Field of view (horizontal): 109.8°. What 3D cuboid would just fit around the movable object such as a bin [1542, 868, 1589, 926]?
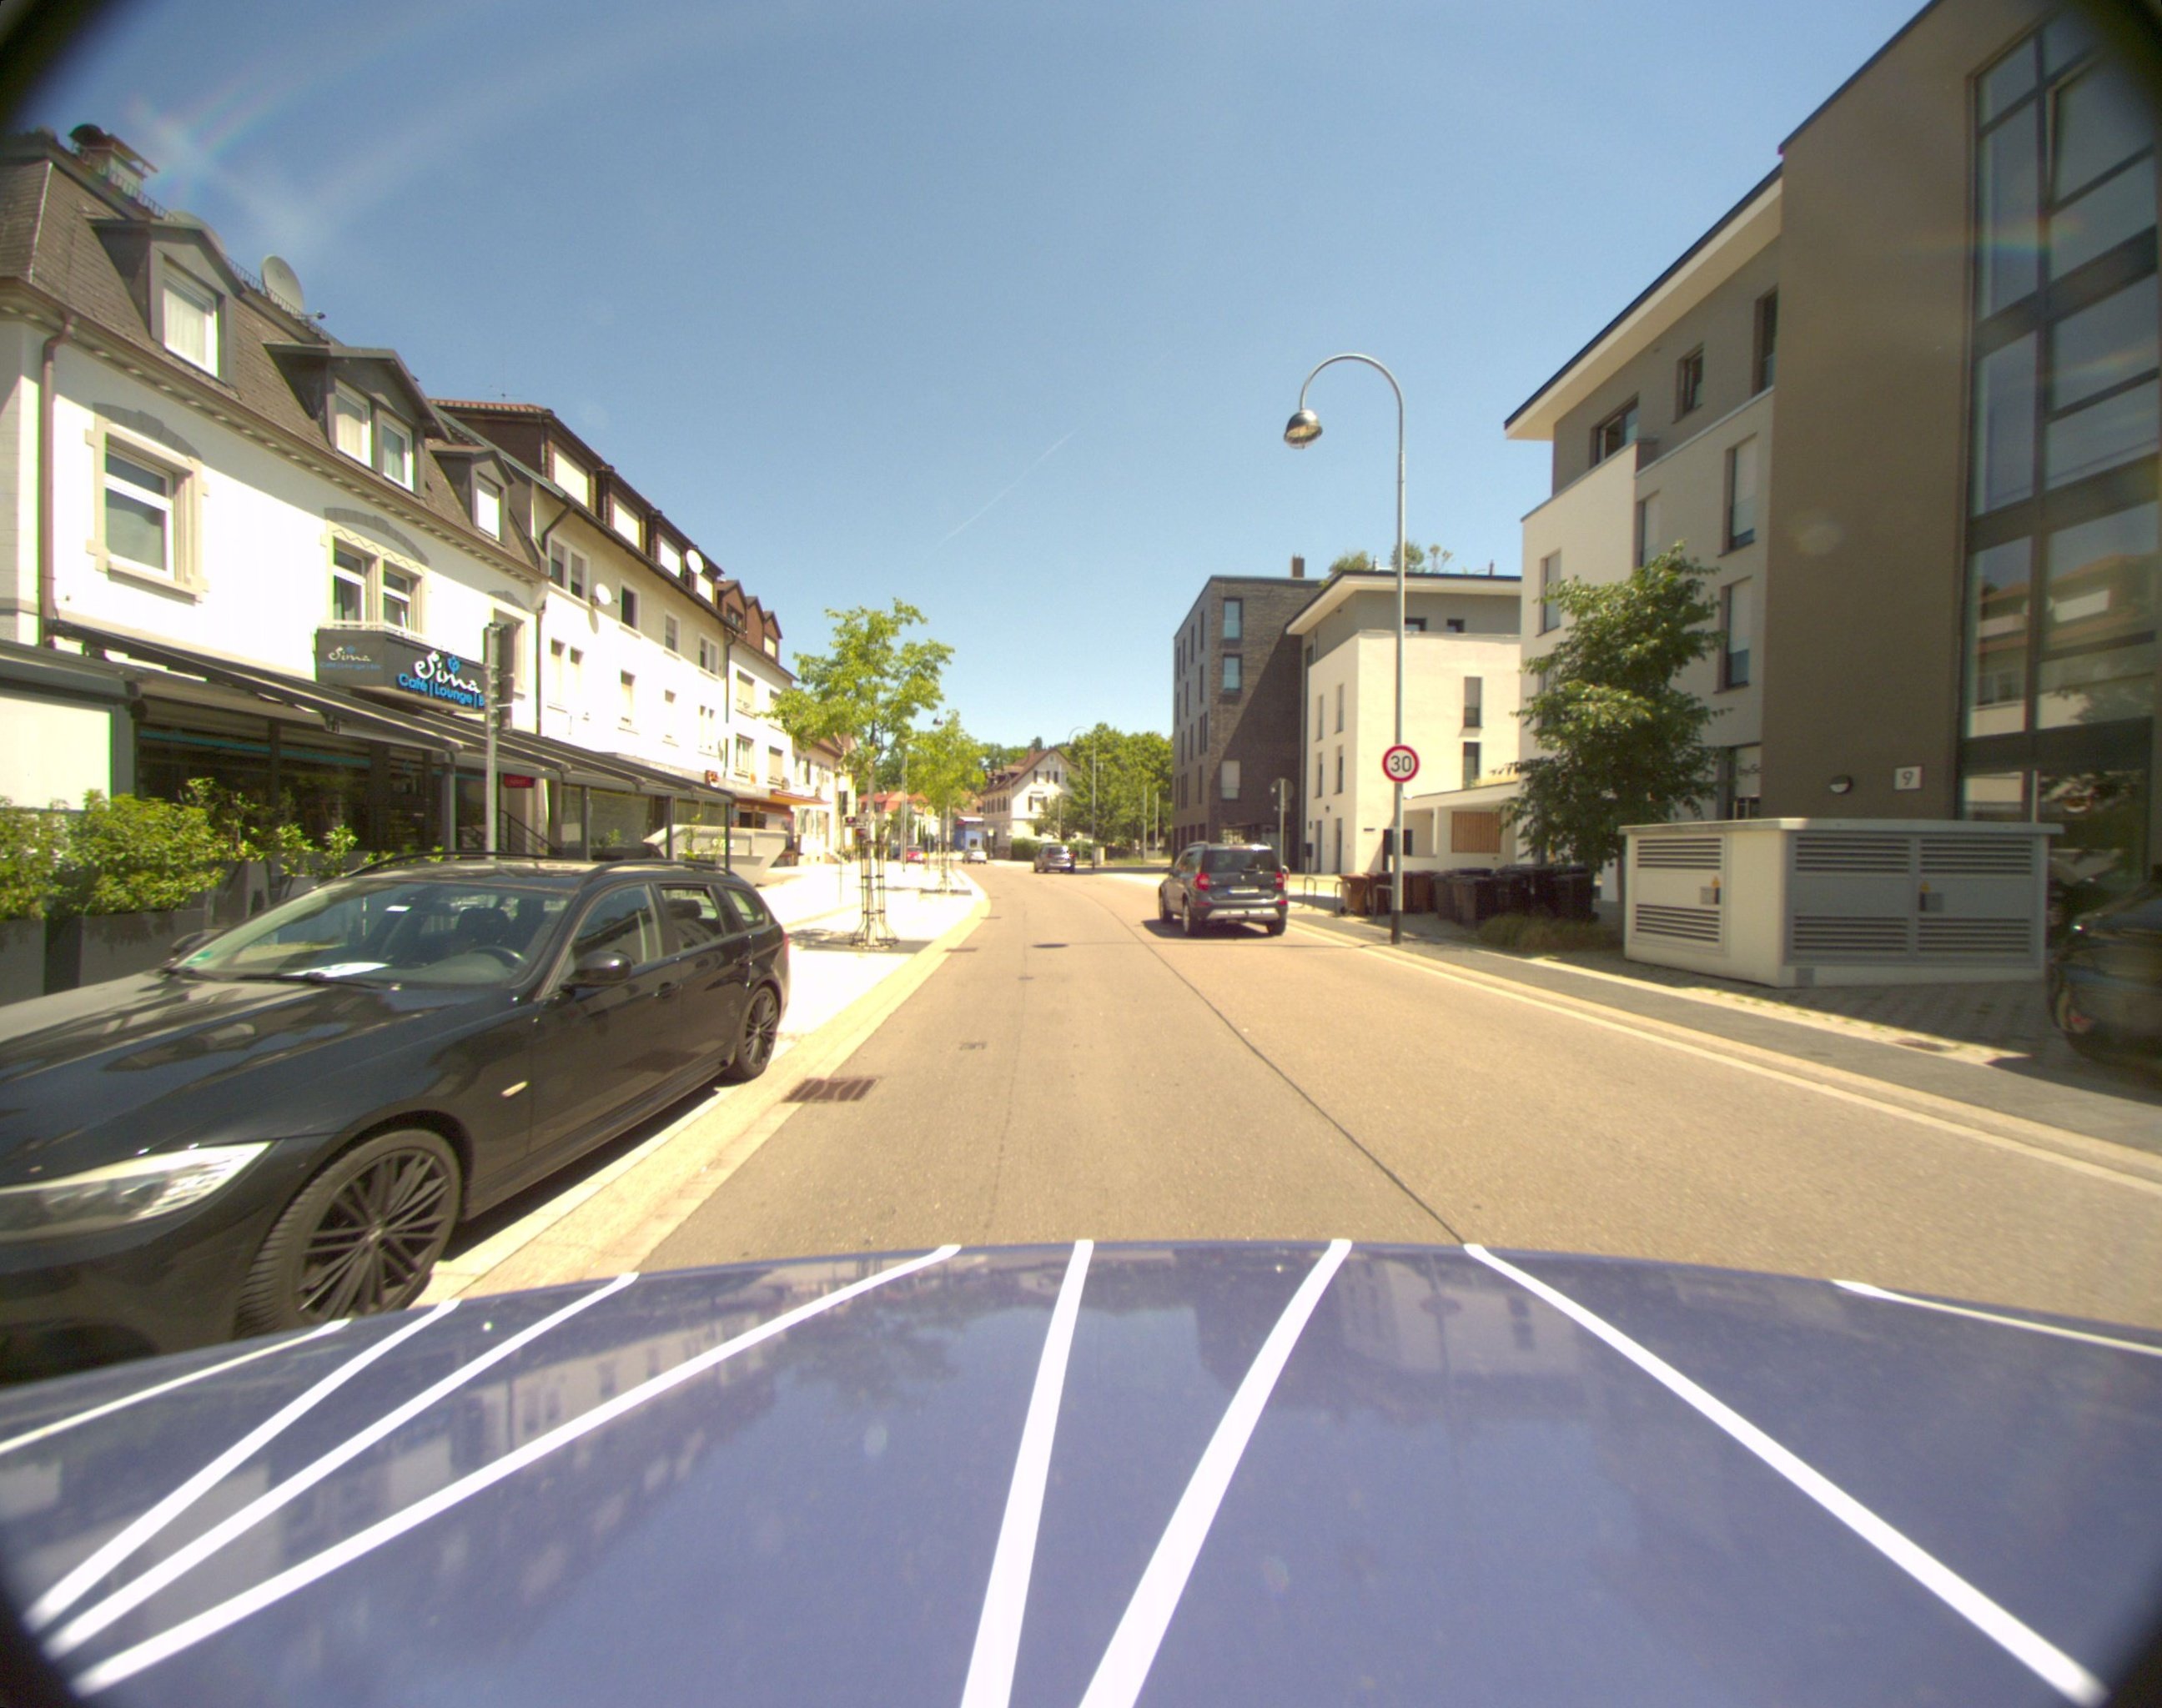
[{"bbox_3d":[9.060,0.794,14.219,0.556,1.033,0.481,0,1,-20],"label":"movable object such as a bin"}]

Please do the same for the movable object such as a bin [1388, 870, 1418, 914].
[{"bbox_3d":[7.388,0.866,17.441,0.426,0.992,0.523,0,1,-3],"label":"movable object such as a bin"}]

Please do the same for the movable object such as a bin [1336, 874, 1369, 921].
[{"bbox_3d":[5.986,0.941,16.749,0.484,0.992,0.587,0,1,-4],"label":"movable object such as a bin"}]

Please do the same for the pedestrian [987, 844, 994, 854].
[{"bbox_3d":[-10.217,-0.570,85.819,0.599,1.053,0.566,-1,2,-23],"label":"pedestrian"}]

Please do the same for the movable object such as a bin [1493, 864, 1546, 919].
[{"bbox_3d":[9.160,0.774,15.873,0.695,1.089,0.646,0,1,-20],"label":"movable object such as a bin"}]

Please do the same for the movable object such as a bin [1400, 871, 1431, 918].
[{"bbox_3d":[7.417,0.892,16.846,0.404,0.992,0.555,0,1,-4],"label":"movable object such as a bin"}]

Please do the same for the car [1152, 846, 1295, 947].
[{"bbox_3d":[2.611,0.694,14.862,1.816,1.691,4.074,0,1,-3],"label":"car"}]

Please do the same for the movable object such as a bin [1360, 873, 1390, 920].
[{"bbox_3d":[6.477,0.926,16.758,0.404,0.992,0.555,0,1,-4],"label":"movable object such as a bin"}]

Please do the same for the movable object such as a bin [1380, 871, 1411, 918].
[{"bbox_3d":[6.917,0.882,16.725,0.404,0.992,0.555,0,1,-4],"label":"movable object such as a bin"}]

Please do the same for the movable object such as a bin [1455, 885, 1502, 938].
[{"bbox_3d":[6.993,1.002,13.373,0.556,0.863,0.481,0,1,-20],"label":"movable object such as a bin"}]

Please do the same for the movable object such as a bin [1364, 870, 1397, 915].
[{"bbox_3d":[6.847,0.879,17.380,0.484,0.992,0.587,0,1,-4],"label":"movable object such as a bin"}]

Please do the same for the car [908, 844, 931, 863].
[{"bbox_3d":[-13.335,-0.084,62.605,1.685,1.505,3.381,0,1,-16],"label":"car"}]

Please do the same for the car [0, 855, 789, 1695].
[{"bbox_3d":[-3.013,0.829,3.482,1.837,1.474,4.094,2,1,-2],"label":"car"}]

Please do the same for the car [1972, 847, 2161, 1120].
[{"bbox_3d":[8.114,0.721,4.247,3.998,1.507,1.999,-1,2,-2],"label":"car"}]

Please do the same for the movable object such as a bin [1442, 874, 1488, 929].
[{"bbox_3d":[7.319,0.900,14.512,0.556,1.014,0.560,0,1,-7],"label":"movable object such as a bin"}]

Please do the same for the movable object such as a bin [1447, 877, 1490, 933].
[{"bbox_3d":[7.107,0.928,13.942,0.555,0.992,0.427,0,1,-1],"label":"movable object such as a bin"}]

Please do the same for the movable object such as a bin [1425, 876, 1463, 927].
[{"bbox_3d":[7.367,0.951,15.417,0.556,0.992,0.404,0,1,-16],"label":"movable object such as a bin"}]

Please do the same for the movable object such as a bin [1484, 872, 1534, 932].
[{"bbox_3d":[7.804,0.860,13.864,0.556,1.033,0.544,0,1,-20],"label":"movable object such as a bin"}]

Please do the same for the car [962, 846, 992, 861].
[{"bbox_3d":[-9.591,-0.066,69.607,1.675,1.388,3.839,-1,1,-25],"label":"car"}]

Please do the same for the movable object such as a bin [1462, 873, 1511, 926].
[{"bbox_3d":[8.195,0.907,15.368,0.622,1.033,0.581,0,1,-20],"label":"movable object such as a bin"}]

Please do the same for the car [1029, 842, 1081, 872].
[{"bbox_3d":[-1.577,0.148,45.095,1.950,1.649,4.228,-1,1,-18],"label":"car"}]

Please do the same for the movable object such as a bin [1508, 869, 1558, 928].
[{"bbox_3d":[8.361,0.814,14.066,0.578,1.033,0.549,0,1,-20],"label":"movable object such as a bin"}]

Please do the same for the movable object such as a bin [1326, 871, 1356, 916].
[{"bbox_3d":[5.940,0.898,17.385,0.484,0.992,0.588,0,1,1],"label":"movable object such as a bin"}]

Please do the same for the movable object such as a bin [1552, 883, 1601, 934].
[{"bbox_3d":[8.813,0.956,13.517,0.556,0.863,0.481,0,1,-20],"label":"movable object such as a bin"}]

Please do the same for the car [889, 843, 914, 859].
[{"bbox_3d":[-17.691,-0.319,74.739,1.738,1.464,4.314,2,0,-22],"label":"car"}]

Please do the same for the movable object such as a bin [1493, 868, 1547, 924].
[{"bbox_3d":[8.543,0.807,14.784,0.678,1.033,0.603,0,1,-20],"label":"movable object such as a bin"}]

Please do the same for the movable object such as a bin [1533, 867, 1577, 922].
[{"bbox_3d":[9.324,0.790,14.939,0.556,1.033,0.481,0,1,-20],"label":"movable object such as a bin"}]

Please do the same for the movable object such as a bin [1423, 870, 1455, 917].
[{"bbox_3d":[7.956,0.871,16.899,0.404,0.992,0.555,0,1,-4],"label":"movable object such as a bin"}]
